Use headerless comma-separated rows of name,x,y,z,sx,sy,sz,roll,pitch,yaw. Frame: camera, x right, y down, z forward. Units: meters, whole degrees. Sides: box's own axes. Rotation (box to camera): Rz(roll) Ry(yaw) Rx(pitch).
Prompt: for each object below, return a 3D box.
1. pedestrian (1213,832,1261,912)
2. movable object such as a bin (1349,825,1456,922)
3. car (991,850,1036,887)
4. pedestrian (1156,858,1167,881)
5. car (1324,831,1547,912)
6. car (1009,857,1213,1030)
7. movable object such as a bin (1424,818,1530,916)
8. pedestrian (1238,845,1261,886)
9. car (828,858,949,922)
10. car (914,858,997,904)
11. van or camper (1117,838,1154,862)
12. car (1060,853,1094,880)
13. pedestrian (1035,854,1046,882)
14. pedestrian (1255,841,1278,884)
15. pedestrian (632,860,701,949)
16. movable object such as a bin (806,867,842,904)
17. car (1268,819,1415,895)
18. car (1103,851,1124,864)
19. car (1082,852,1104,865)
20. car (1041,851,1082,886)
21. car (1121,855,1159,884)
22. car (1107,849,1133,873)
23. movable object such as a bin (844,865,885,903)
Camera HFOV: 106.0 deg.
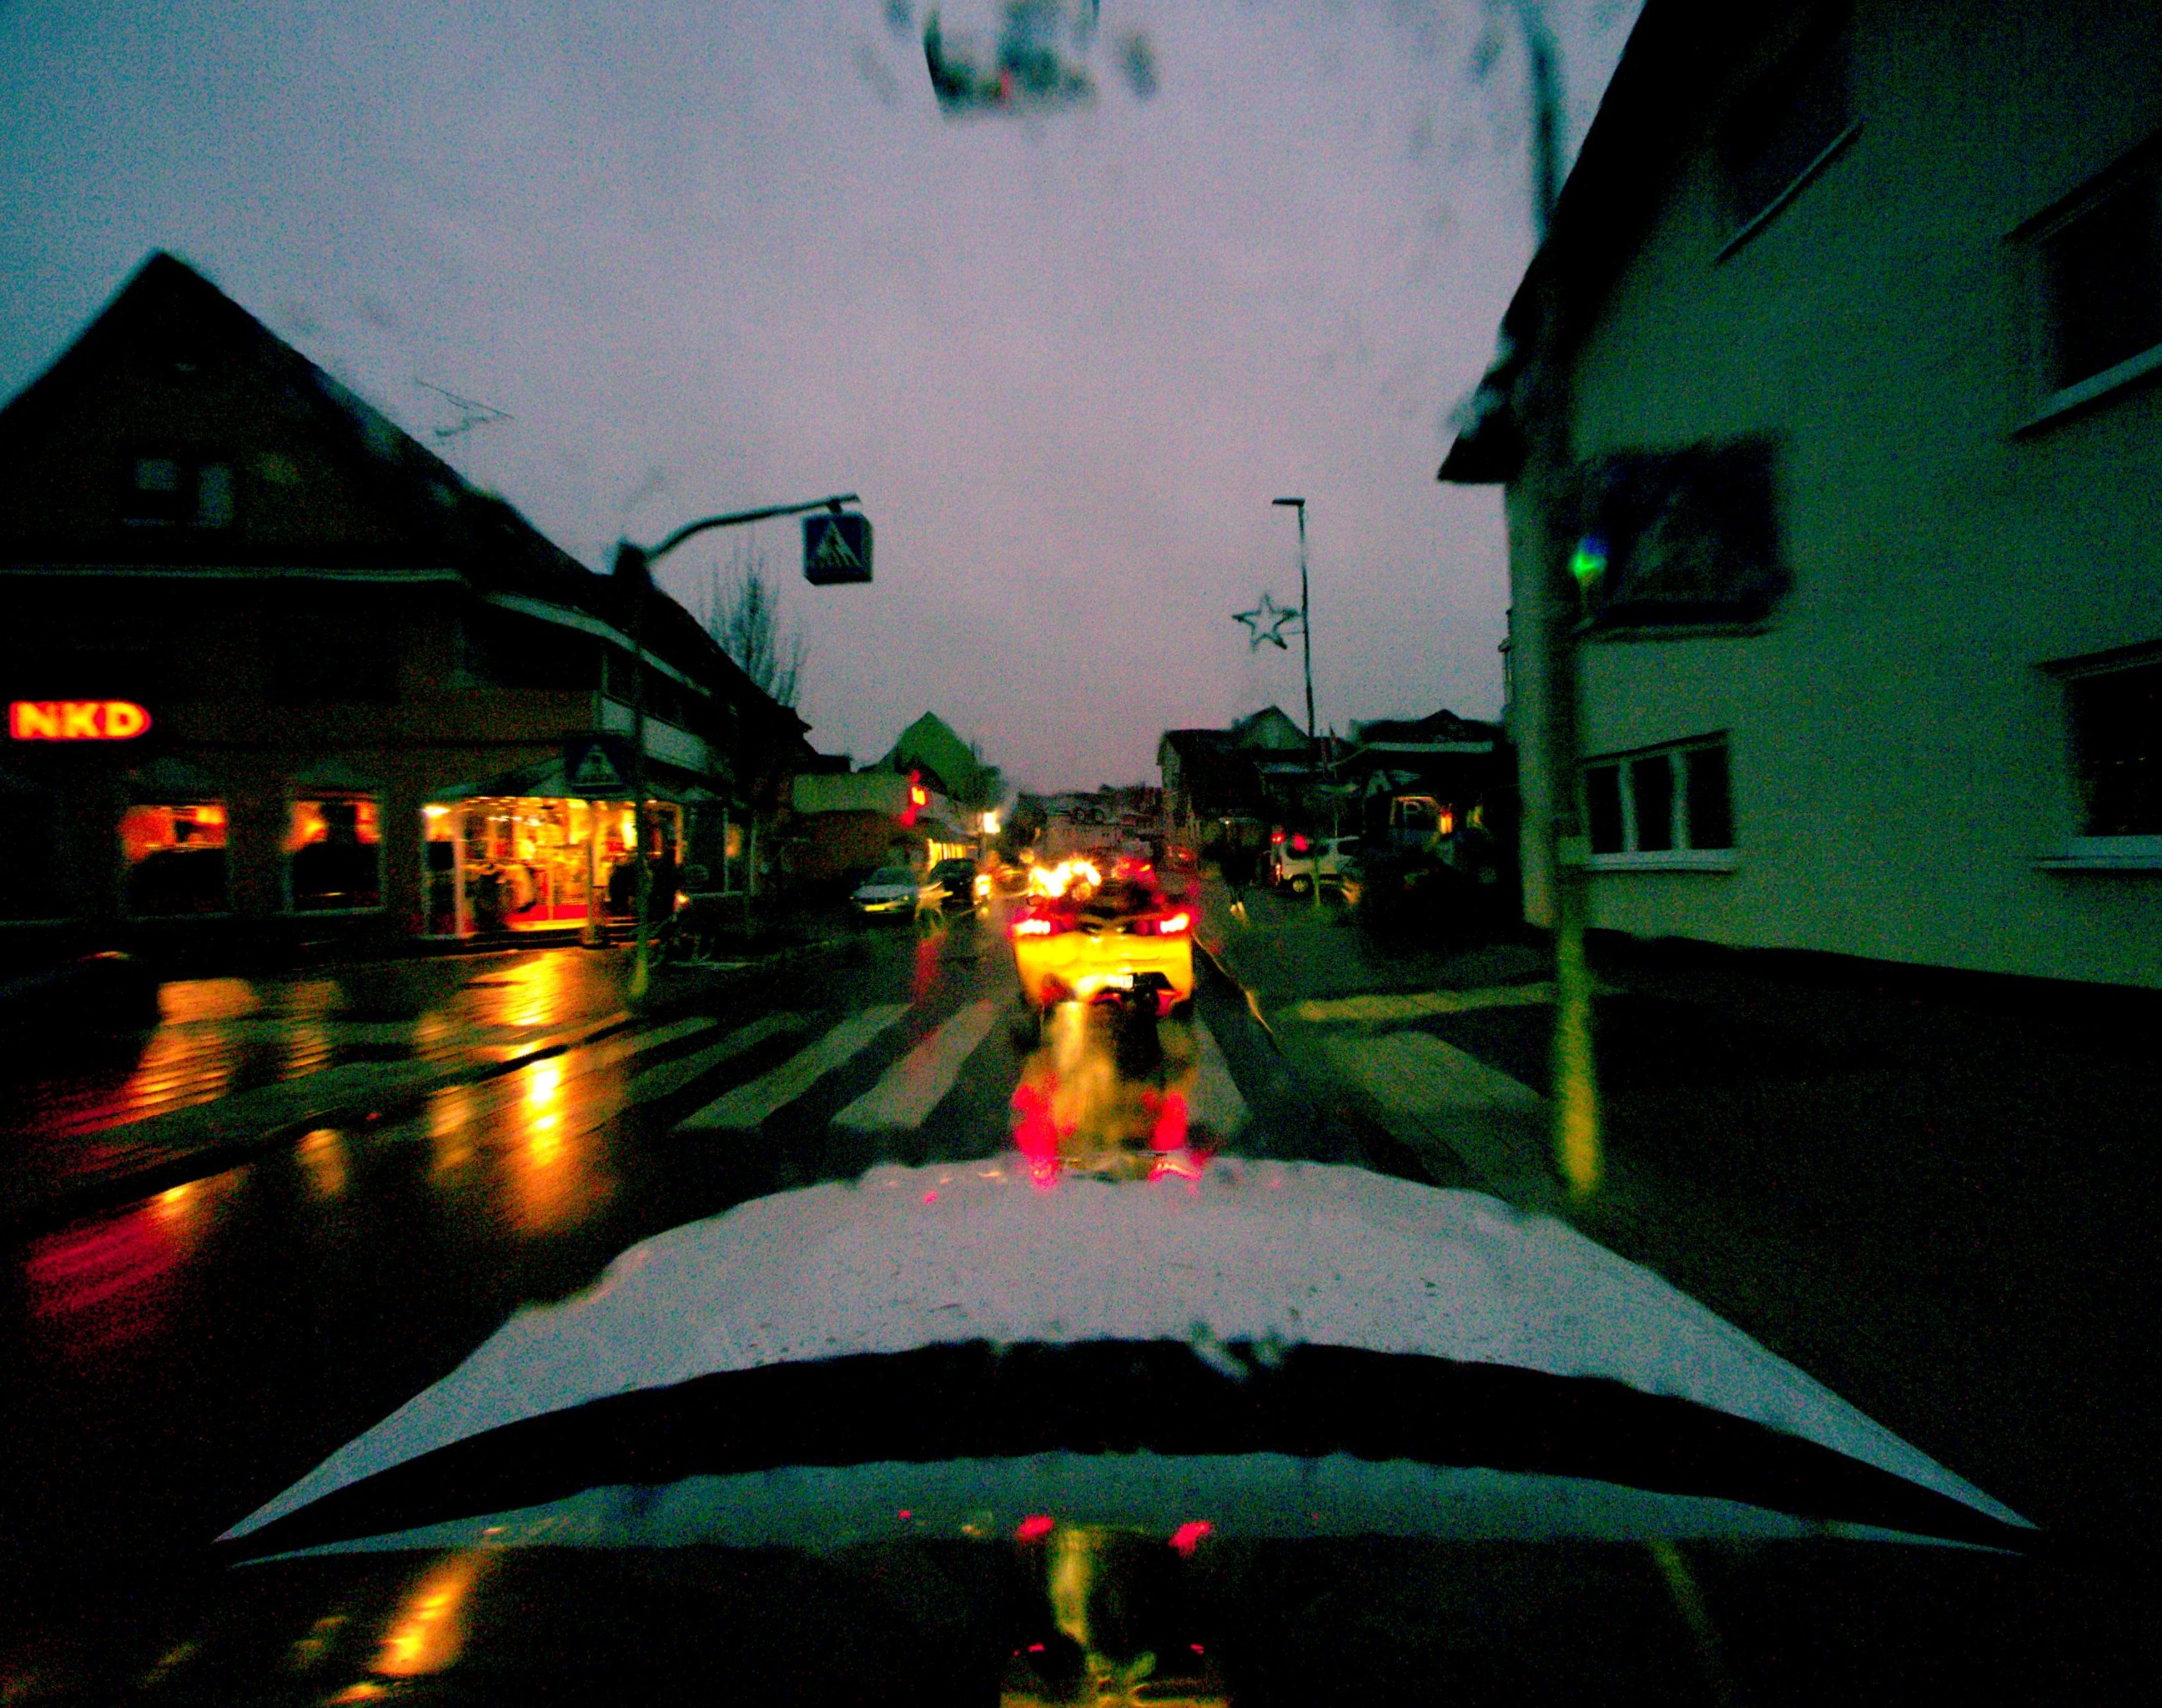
pedestrian,3.790,0.421,19.812,0.963,1.889,1.006,0,-1,0
movable object such as a bin,5.899,0.343,15.055,1.388,1.644,1.261,-4,0,0
car,-3.471,0.692,42.923,2.080,1.792,5.020,-1,0,-2
pedestrian,6.236,1.209,63.002,0.743,1.729,0.872,-2,1,-1
car,7.465,0.377,17.516,3.968,1.486,1.915,-2,-1,5
car,0.345,0.814,9.279,1.807,1.533,4.002,0,0,2
movable object such as a bin,7.253,0.233,14.984,1.281,1.644,1.185,-4,0,-1
pedestrian,7.127,0.488,34.530,0.837,1.705,0.841,-3,-1,9
car,-5.117,0.895,22.378,1.985,1.558,4.624,0,0,3
car,-4.472,0.921,29.755,1.985,1.522,4.981,-1,0,3
van or camper,7.678,-0.534,115.463,2.660,3.047,6.688,-5,1,-20
car,-0.303,0.803,56.745,1.949,1.546,4.408,-3,2,-5
pedestrian,-2.304,0.781,46.543,0.573,1.585,0.530,-2,1,-2
pedestrian,7.551,0.331,33.159,0.701,1.705,0.915,-1,-1,0
pedestrian,-8.003,0.946,15.781,0.825,1.658,1.095,0,-1,-5
movable object such as a bin,-9.976,1.208,31.653,1.149,1.354,0.849,-1,0,-8
car,8.061,0.114,25.568,4.065,2.049,2.006,-4,-1,10
car,4.573,0.506,114.773,1.995,1.610,4.157,-3,-1,-12
car,1.711,0.609,114.500,1.997,1.765,4.329,-3,0,-14
car,-1.008,0.725,44.628,1.987,1.705,4.968,1,1,1
car,3.423,0.881,47.928,1.987,1.588,3.999,0,0,0
car,3.139,0.583,65.898,1.987,1.857,4.000,0,0,1
movable object such as a bin,-8.443,1.172,31.808,1.339,1.354,0.887,-4,-1,-7
